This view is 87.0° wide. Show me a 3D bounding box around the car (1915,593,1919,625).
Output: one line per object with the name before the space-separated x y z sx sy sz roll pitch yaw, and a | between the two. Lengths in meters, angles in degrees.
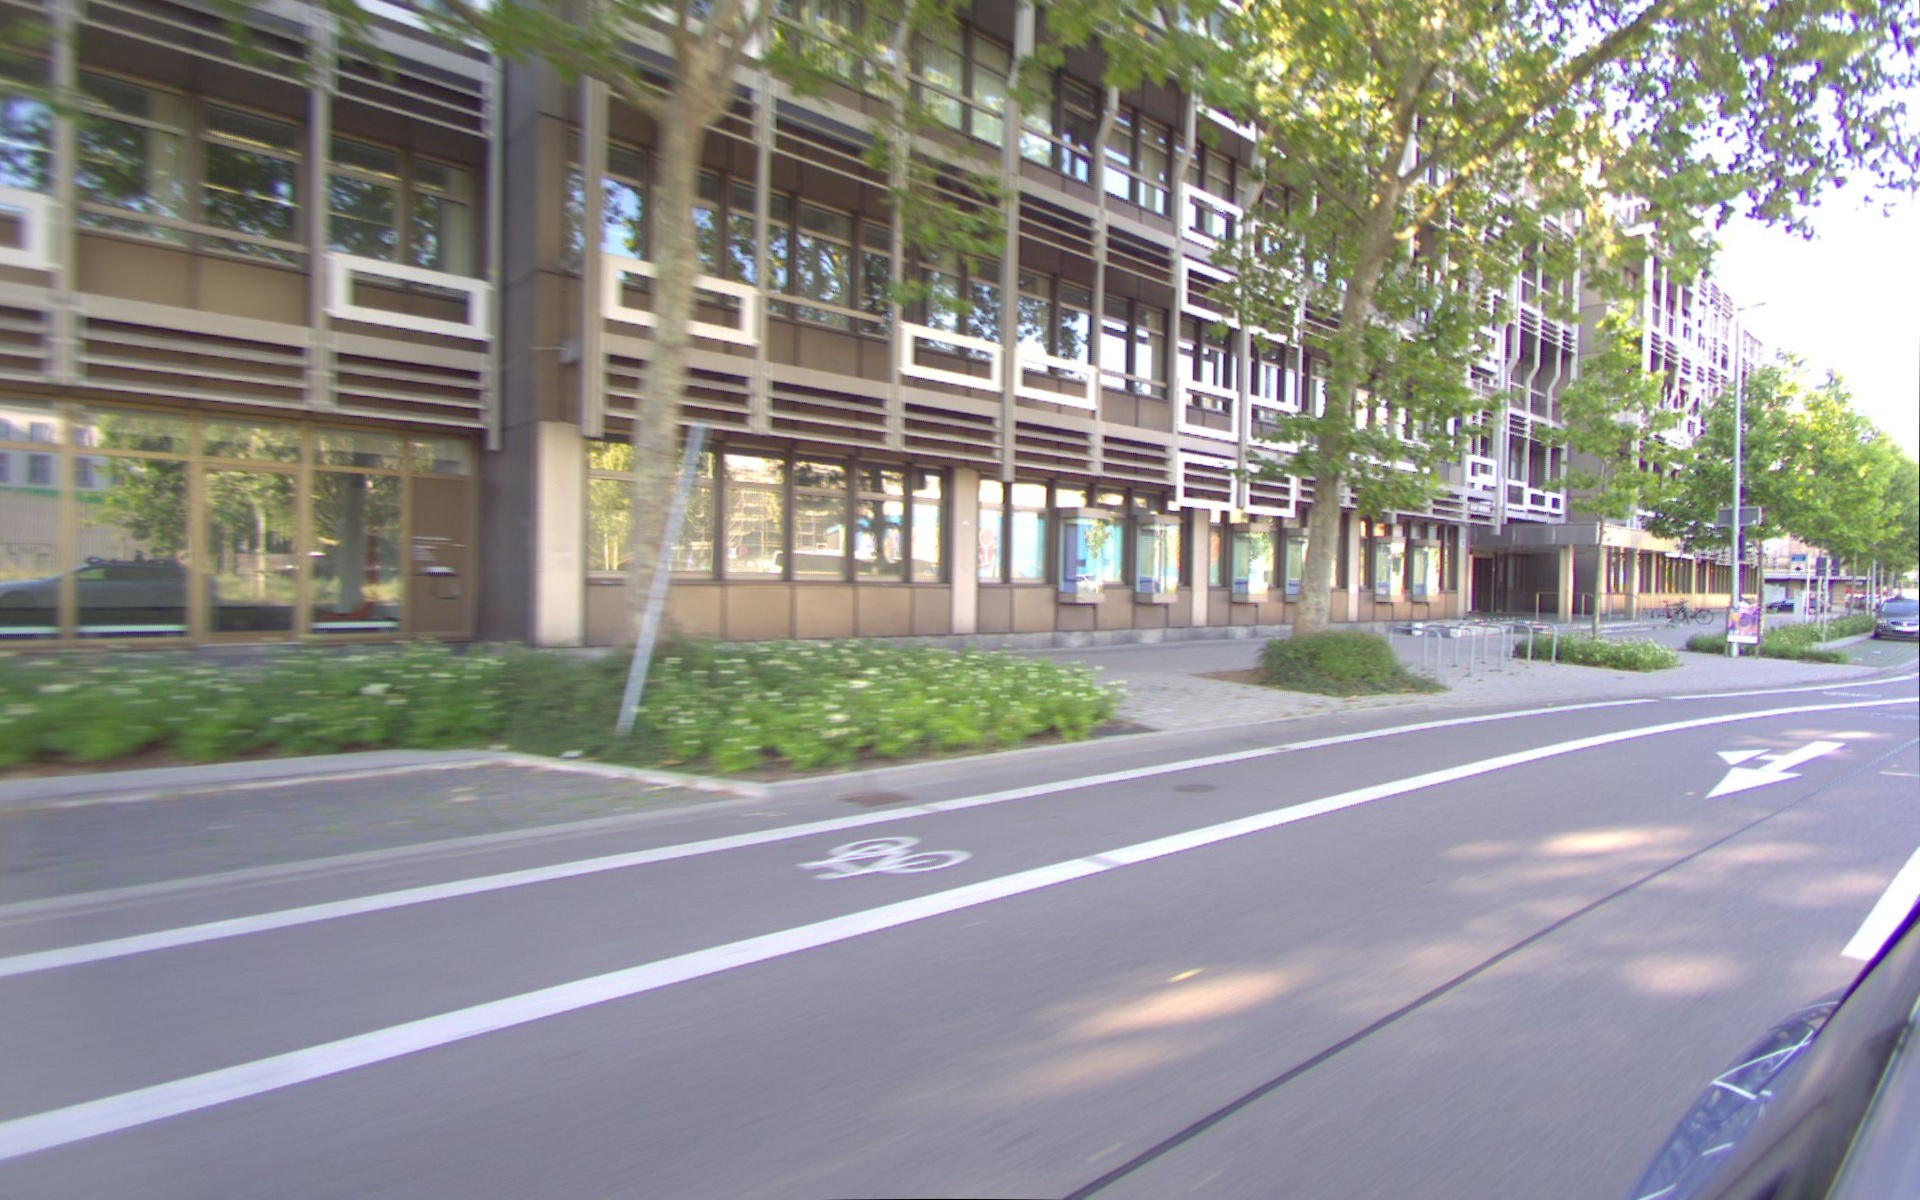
car | 46.291 0.483 47.525 4.303 1.467 1.797 0 3 -43

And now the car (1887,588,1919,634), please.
car | 37.899 0.427 39.851 4.440 1.709 1.730 0 3 -44

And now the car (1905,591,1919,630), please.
car | 42.356 0.465 43.915 4.146 1.641 1.730 0 3 -44

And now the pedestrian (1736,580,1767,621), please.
pedestrian | 32.734 0.009 41.829 1.117 1.668 0.790 0 2 -43

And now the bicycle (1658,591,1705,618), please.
bicycle | 31.984 0.185 44.862 0.385 1.095 1.630 0 2 -40

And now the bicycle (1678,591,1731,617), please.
bicycle | 33.930 0.175 46.144 1.899 1.106 0.386 3 2 42

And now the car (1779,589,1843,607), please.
car | 76.772 -0.176 91.380 4.249 1.468 1.840 1 2 36
